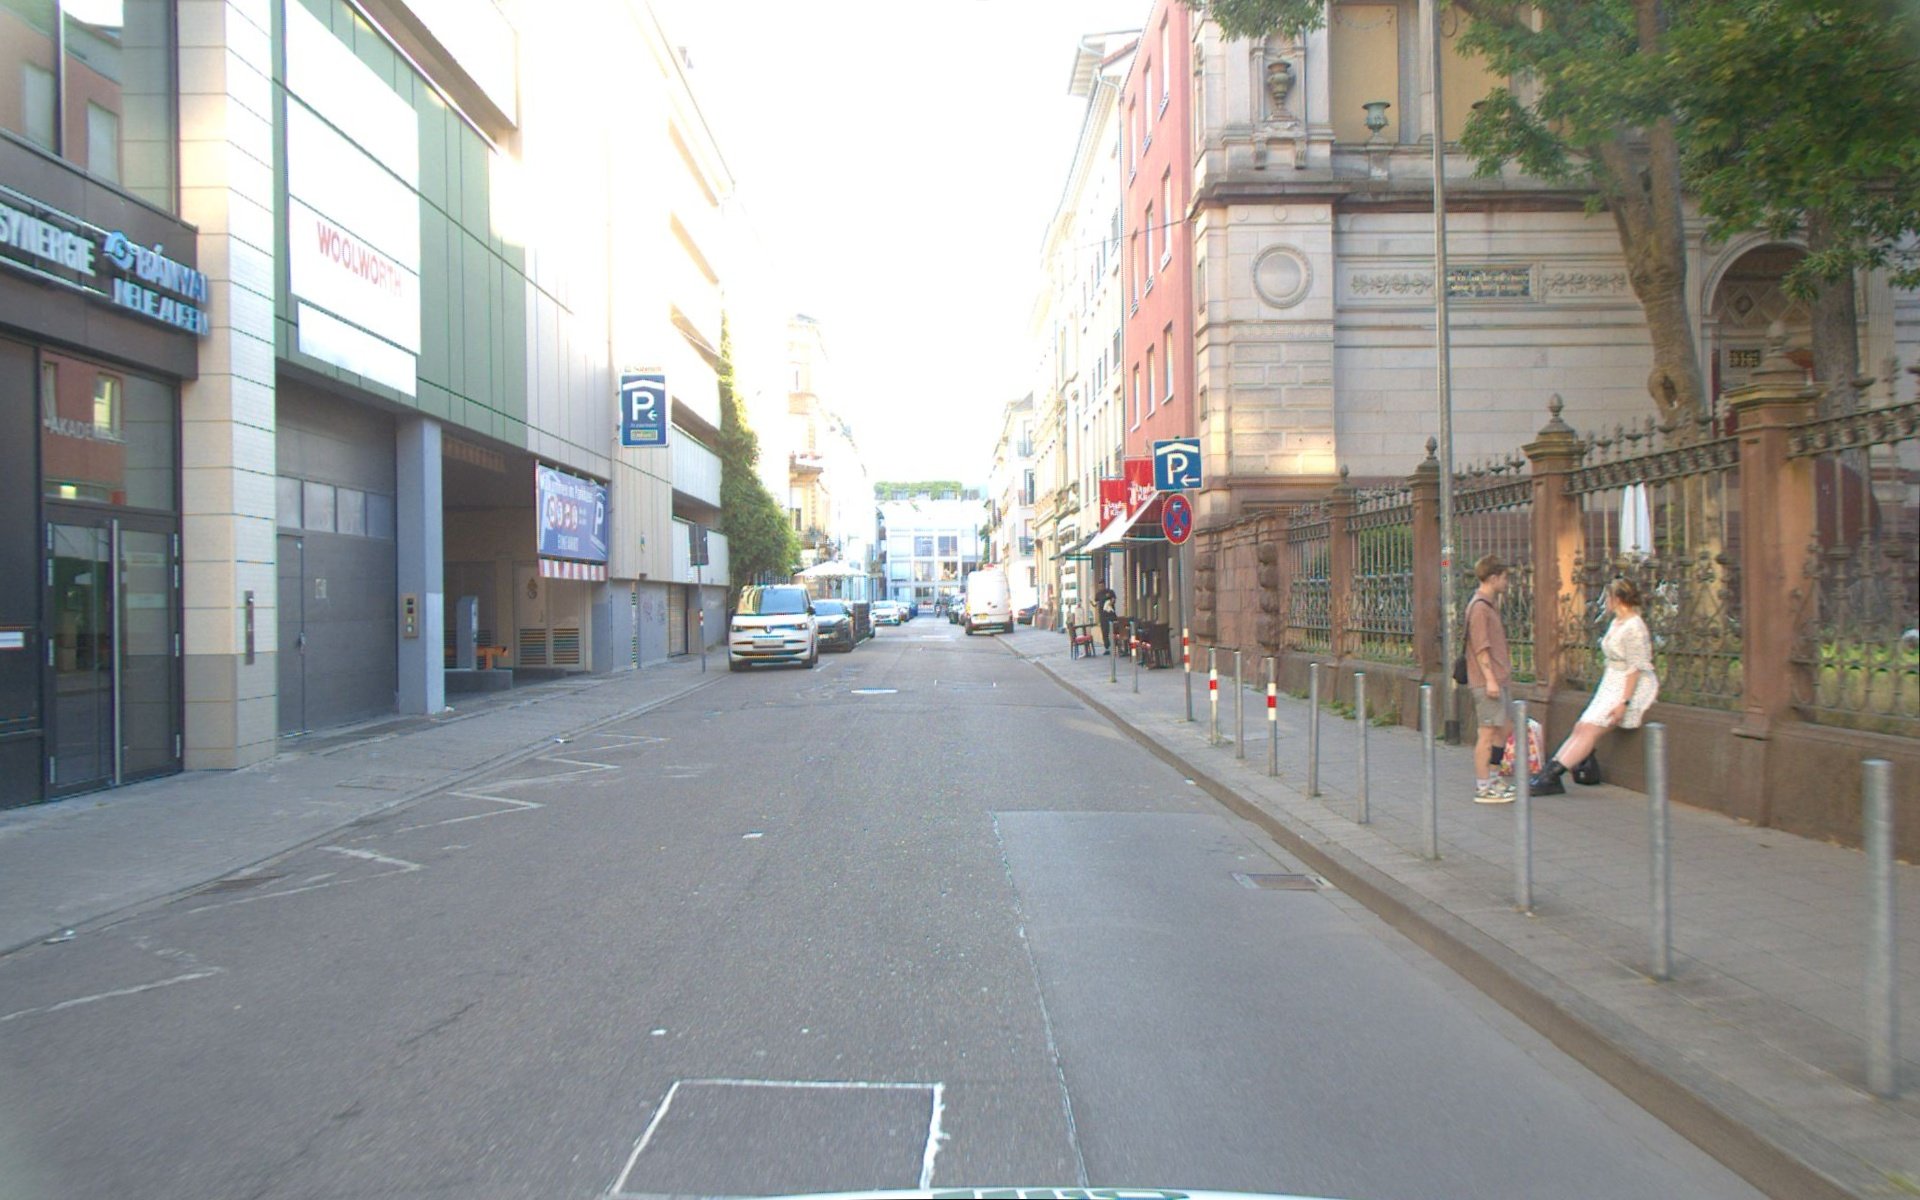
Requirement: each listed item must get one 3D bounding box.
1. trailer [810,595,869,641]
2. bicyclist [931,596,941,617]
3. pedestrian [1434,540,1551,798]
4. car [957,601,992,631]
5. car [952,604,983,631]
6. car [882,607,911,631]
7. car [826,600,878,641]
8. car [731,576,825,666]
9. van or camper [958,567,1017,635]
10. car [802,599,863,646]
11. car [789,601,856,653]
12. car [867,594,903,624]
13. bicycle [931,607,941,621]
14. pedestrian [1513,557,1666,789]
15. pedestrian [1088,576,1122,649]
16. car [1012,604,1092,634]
[{"bbox_3d":[-4.271,0.644,59.107,1.953,1.584,3.998,-1,-1,-2],"label":"trailer"},{"bbox_3d":[-2.239,0.588,153.873,0.970,1.901,0.708,-1,-1,-1],"label":"bicyclist"},{"bbox_3d":[3.621,0.456,11.284,0.475,1.687,0.617,-2,0,-8],"label":"pedestrian"},{"bbox_3d":[0.827,0.957,96.710,1.953,1.713,3.999,-1,-1,-1],"label":"car"},{"bbox_3d":[0.451,1.135,108.546,1.953,1.713,3.999,-1,-1,-1],"label":"car"},{"bbox_3d":[-4.648,1.379,121.108,1.953,1.713,3.999,-1,-1,-1],"label":"car"},{"bbox_3d":[-4.119,0.774,63.527,1.845,1.478,3.998,-1,0,-2],"label":"car"},{"bbox_3d":[-4.189,0.461,38.612,1.846,1.945,4.745,-1,0,-3],"label":"car"},{"bbox_3d":[1.143,0.087,72.156,2.213,2.652,5.111,-5,-1,-1],"label":"van or camper"},{"bbox_3d":[-4.207,0.714,54.852,1.845,1.478,3.998,-1,0,-2],"label":"car"},{"bbox_3d":[-4.112,0.780,49.934,1.845,1.478,3.998,-1,0,-2],"label":"car"},{"bbox_3d":[-4.434,0.545,98.022,1.953,1.713,3.999,-1,-1,-1],"label":"car"},{"bbox_3d":[-2.235,1.300,153.993,0.955,1.303,2.753,-1,-1,-1],"label":"bicycle"},{"bbox_3d":[4.348,0.492,11.456,0.735,1.526,0.618,-2,0,-6],"label":"pedestrian"},{"bbox_3d":[3.416,0.295,39.015,0.648,1.695,0.624,-3,0,-1],"label":"pedestrian"},{"bbox_3d":[4.579,0.940,82.769,3.906,1.445,1.656,-1,-1,-1],"label":"car"}]
